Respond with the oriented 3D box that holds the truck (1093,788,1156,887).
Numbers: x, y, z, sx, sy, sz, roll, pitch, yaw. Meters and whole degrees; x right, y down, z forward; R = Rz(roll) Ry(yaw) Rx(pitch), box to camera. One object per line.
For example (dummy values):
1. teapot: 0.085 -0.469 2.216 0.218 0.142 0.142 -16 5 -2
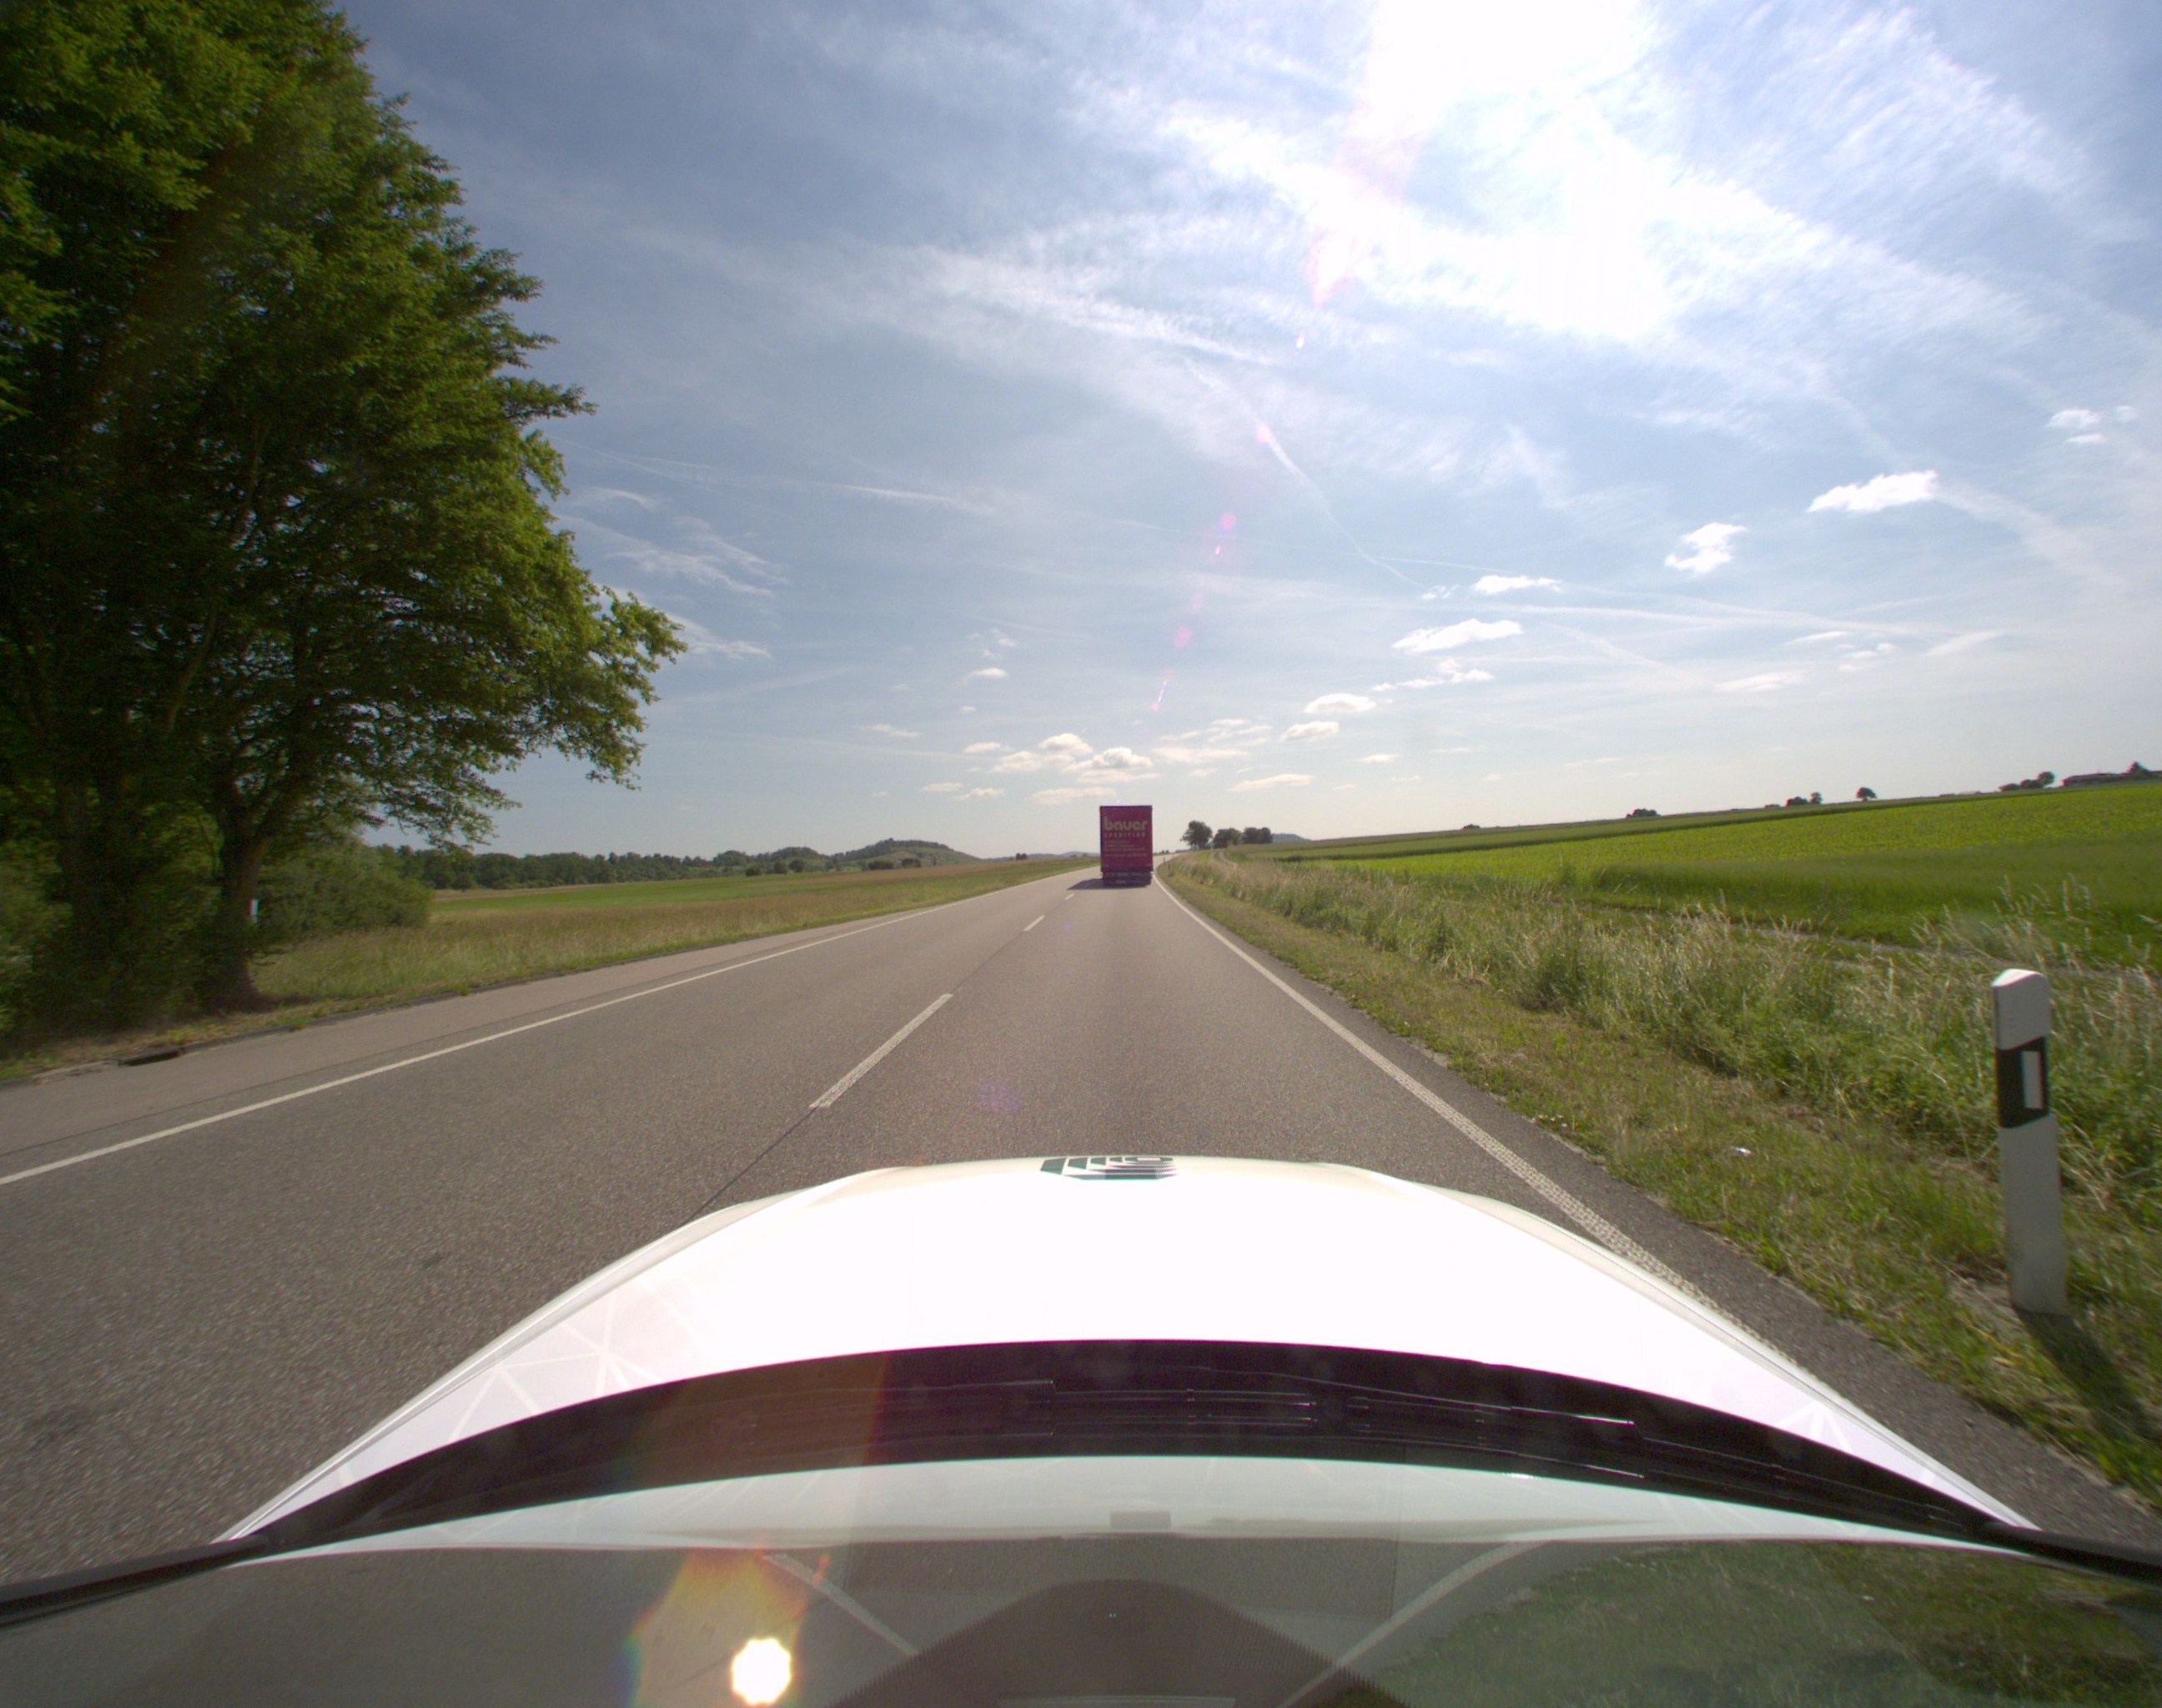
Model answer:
1. truck: 2.273 -0.793 43.666 2.963 4.713 9.371 1 0 2
